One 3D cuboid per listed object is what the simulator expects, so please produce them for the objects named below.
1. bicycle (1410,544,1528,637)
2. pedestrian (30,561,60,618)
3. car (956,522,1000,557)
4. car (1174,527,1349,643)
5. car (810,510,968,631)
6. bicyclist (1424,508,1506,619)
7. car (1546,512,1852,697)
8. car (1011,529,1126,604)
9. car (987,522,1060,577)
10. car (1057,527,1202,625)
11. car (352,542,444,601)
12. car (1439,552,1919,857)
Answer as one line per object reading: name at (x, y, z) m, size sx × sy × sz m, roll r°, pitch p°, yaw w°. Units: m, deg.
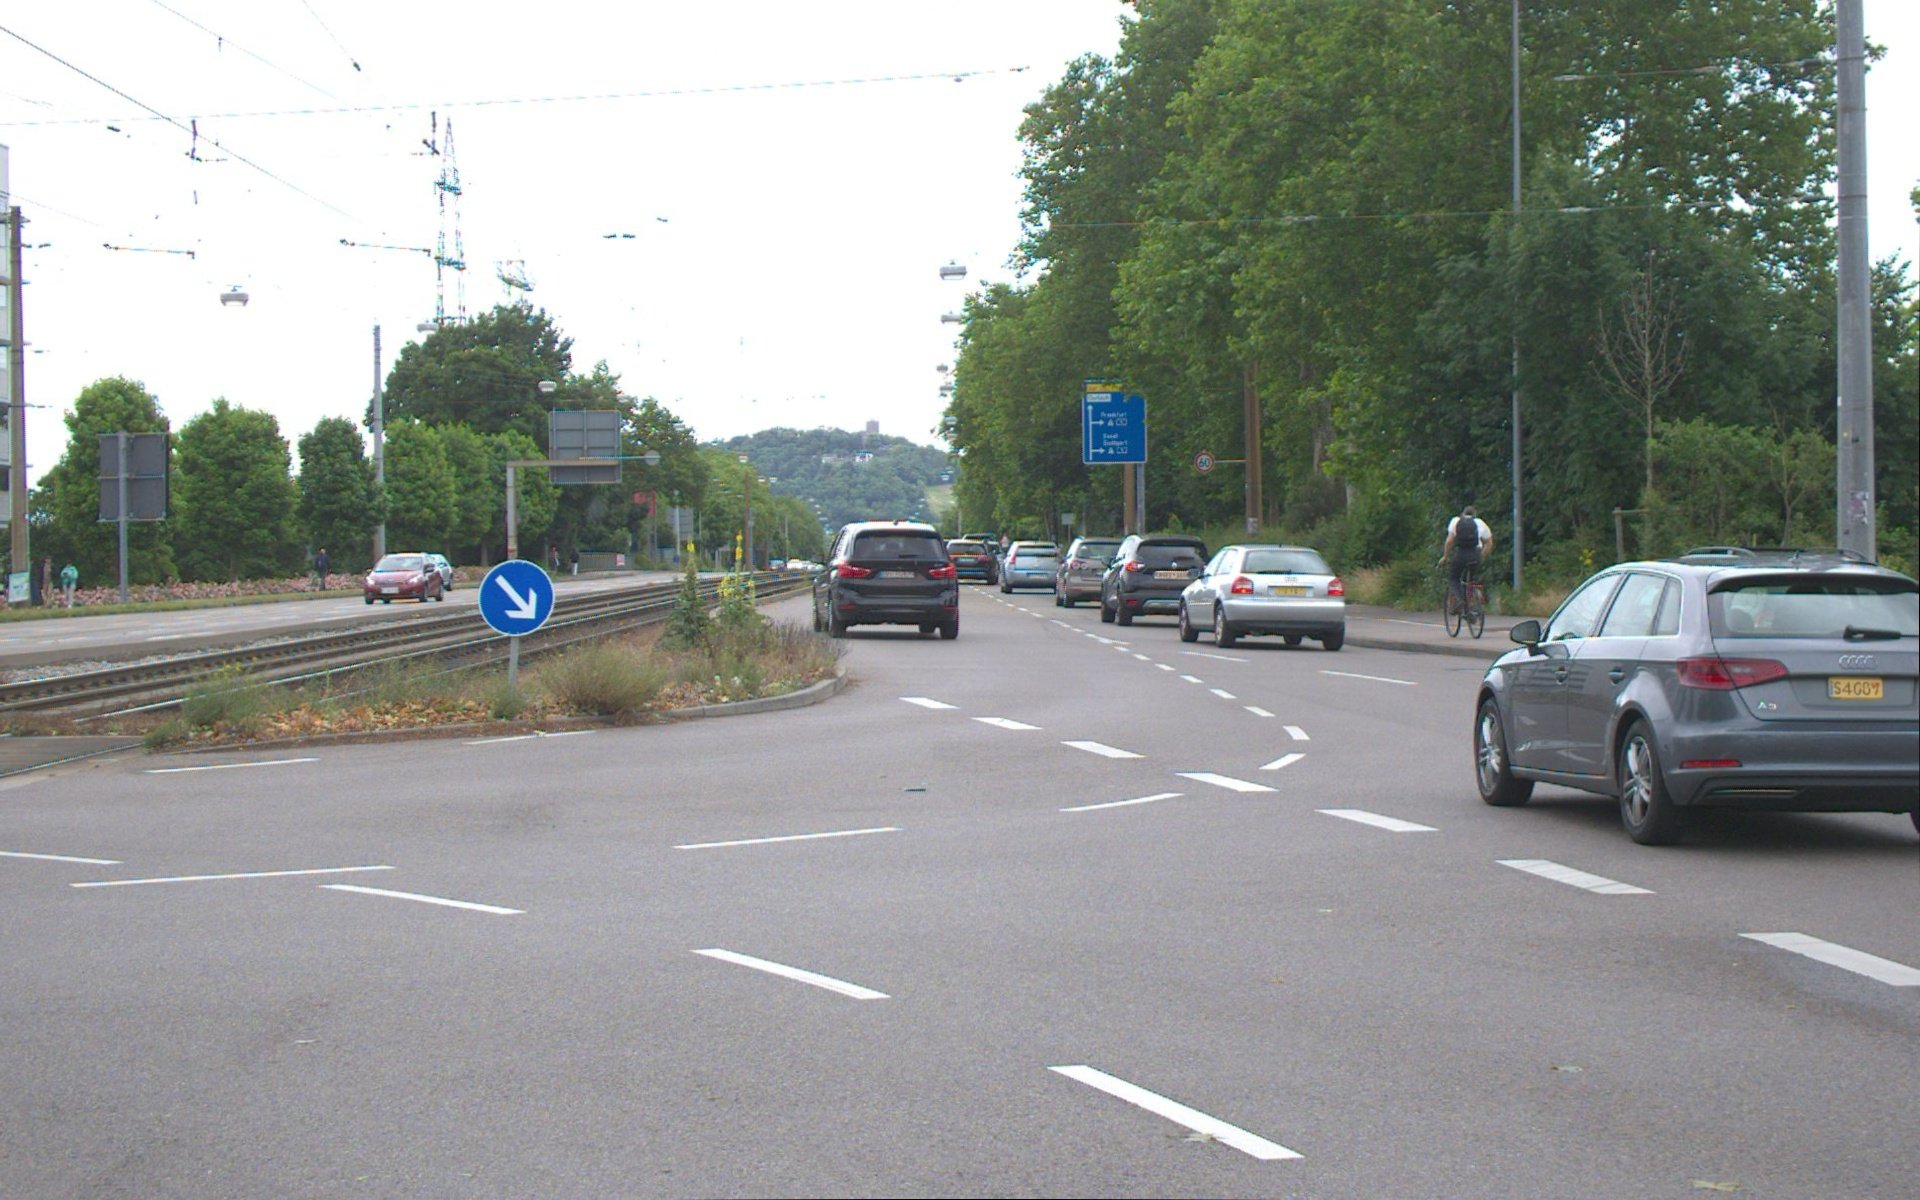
bicycle at (7.004, -0.151, 47.478) m, size 0.816 × 1.181 × 2.523 m, roll -2°, pitch 2°, yaw -10°
pedestrian at (-26.366, -0.304, 99.100) m, size 0.544 × 1.648 × 0.614 m, roll 1°, pitch 0°, yaw 37°
car at (0.794, -2.706, 154.909) m, size 1.815 × 1.475 × 3.672 m, roll 1°, pitch 0°, yaw -2°
car at (4.130, -0.237, 47.559) m, size 1.728 × 1.504 × 3.633 m, roll 1°, pitch 1°, yaw -6°
car at (-1.054, -0.428, 48.618) m, size 1.832 × 1.631 × 4.318 m, roll 0°, pitch 1°, yaw -6°
bicyclist at (6.963, -0.513, 47.416) m, size 0.816 × 1.473 × 1.000 m, roll -2°, pitch 2°, yaw -10°
car at (6.343, 0.033, 29.966) m, size 1.735 × 1.474 × 4.319 m, roll 1°, pitch 0°, yaw 0°
car at (2.373, -0.737, 76.391) m, size 1.856 × 1.556 × 4.318 m, roll 2°, pitch 0°, yaw -7°
car at (1.755, -1.391, 95.494) m, size 1.815 × 1.475 × 3.672 m, roll 1°, pitch 0°, yaw -2°
car at (2.867, -0.411, 59.032) m, size 1.856 × 1.556 × 4.318 m, roll 2°, pitch 0°, yaw -5°
car at (-16.508, -0.850, 101.070) m, size 1.993 × 1.722 × 4.000 m, roll 0°, pitch 1°, yaw 1°
car at (3.944, 0.457, 18.075) m, size 1.737 × 1.397 × 4.078 m, roll 0°, pitch 1°, yaw -8°
